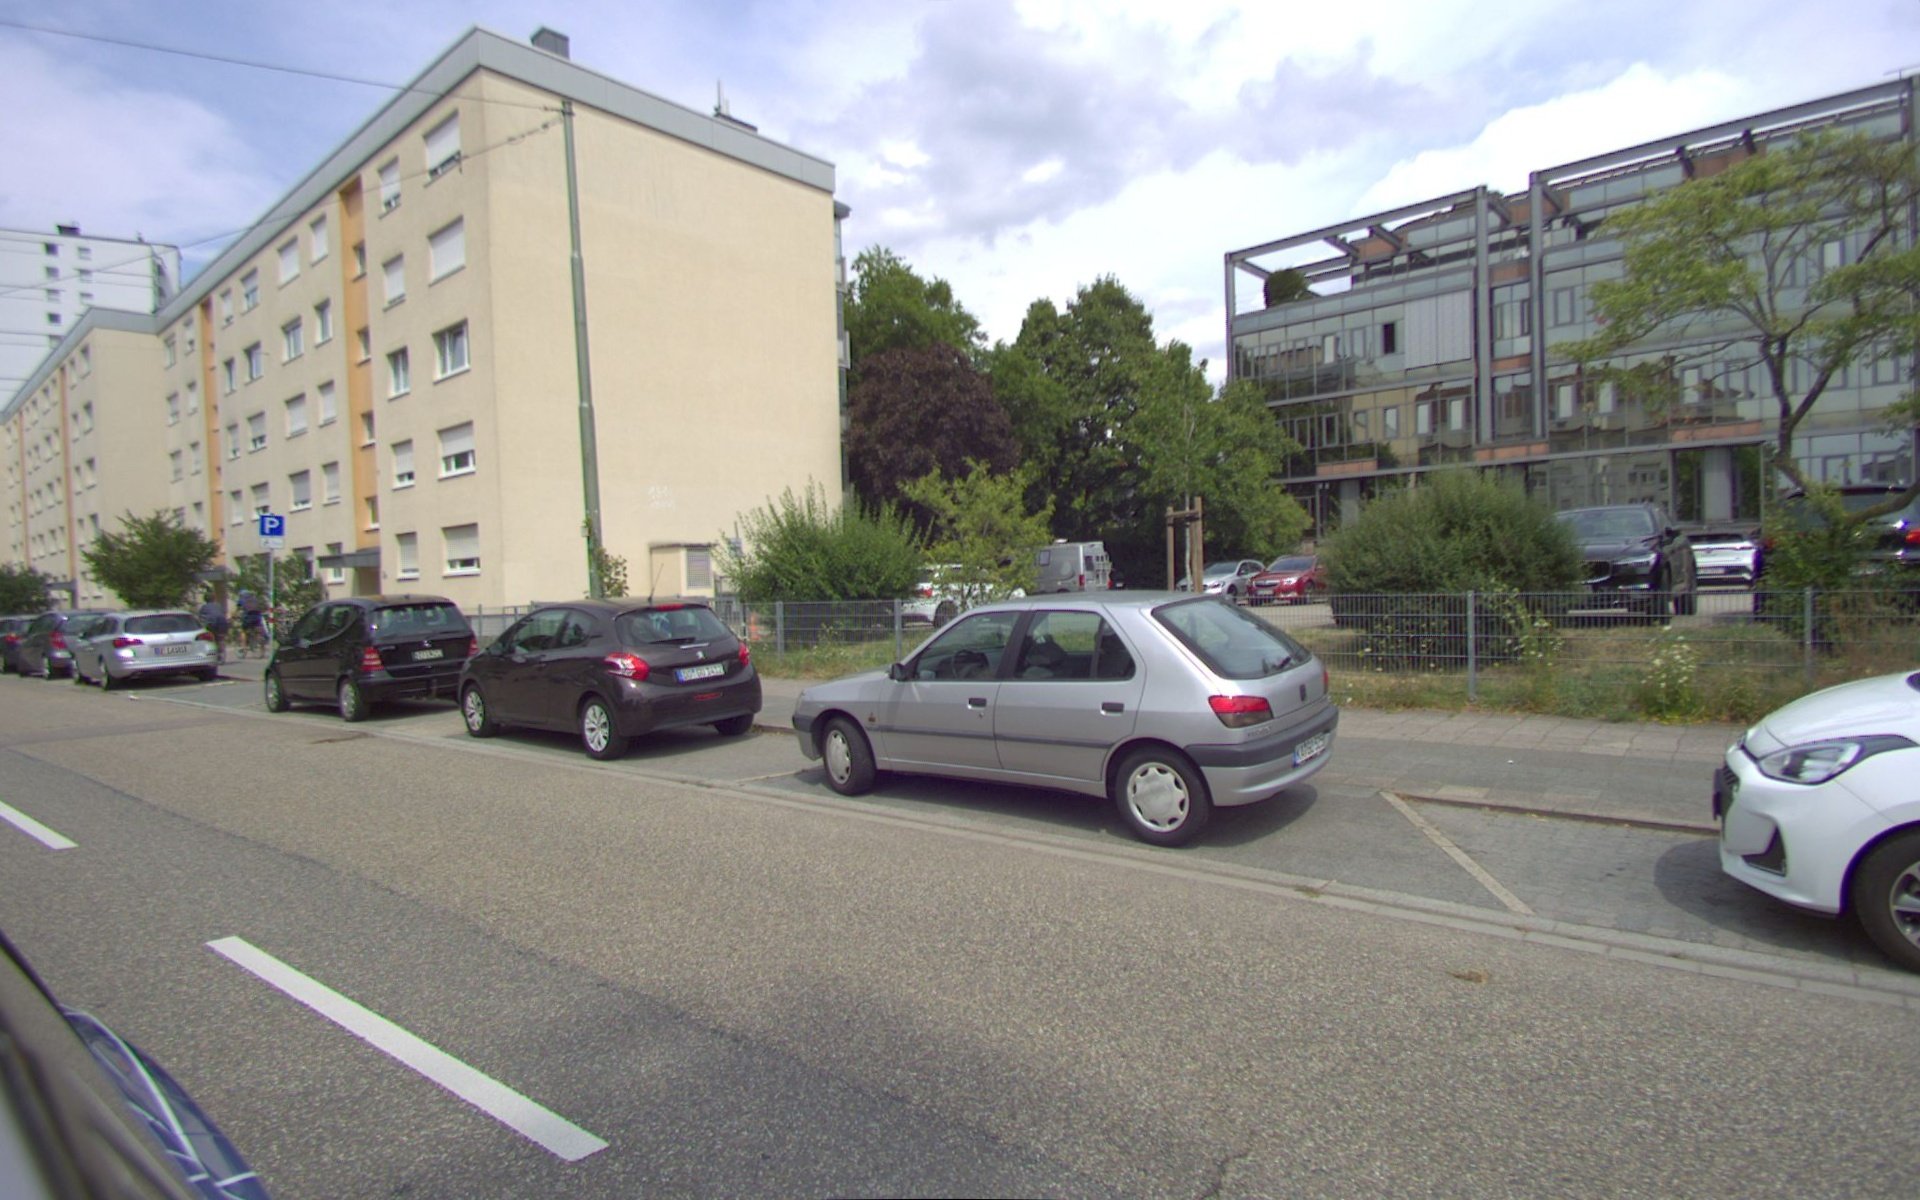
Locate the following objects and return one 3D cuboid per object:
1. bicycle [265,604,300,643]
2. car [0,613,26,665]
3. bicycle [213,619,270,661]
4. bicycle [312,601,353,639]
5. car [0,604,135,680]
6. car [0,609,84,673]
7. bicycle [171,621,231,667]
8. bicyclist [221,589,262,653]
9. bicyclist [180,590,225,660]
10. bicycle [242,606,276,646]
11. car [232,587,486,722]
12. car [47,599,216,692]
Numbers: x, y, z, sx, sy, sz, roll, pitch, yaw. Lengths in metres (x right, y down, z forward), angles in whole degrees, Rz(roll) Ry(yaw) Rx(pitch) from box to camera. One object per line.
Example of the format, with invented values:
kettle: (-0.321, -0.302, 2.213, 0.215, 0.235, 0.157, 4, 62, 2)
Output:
bicycle: (-22.351, 0.772, 33.374, 0.526, 1.216, 2.019, -4, 3, -44)
car: (-30.414, 1.178, 31.033, 4.616, 1.518, 1.702, -1, 1, 36)
bicycle: (-18.660, 1.013, 26.264, 2.079, 1.009, 0.617, 0, 3, 39)
bicycle: (-21.060, 0.666, 33.961, 2.016, 1.216, 0.527, -1, 3, 40)
car: (-21.454, 0.954, 24.251, 3.833, 1.636, 1.702, -1, 1, 37)
car: (-25.256, 1.054, 27.159, 4.255, 1.515, 1.662, -1, 2, 36)
bicycle: (-18.362, 1.054, 24.481, 2.079, 1.009, 0.617, 0, 3, 39)
bicyclist: (-18.586, 0.533, 26.179, 0.765, 1.620, 0.608, 0, 3, 38)
bicyclist: (-18.189, 0.584, 24.299, 0.765, 1.620, 0.608, 0, 3, 38)
bicycle: (-22.826, 0.829, 32.938, 0.526, 1.216, 2.019, -6, 4, -44)
car: (-8.419, 0.669, 14.068, 3.993, 1.586, 1.607, -1, 1, 37)
car: (-16.963, 0.873, 20.635, 4.547, 1.575, 1.769, -1, 3, 40)
